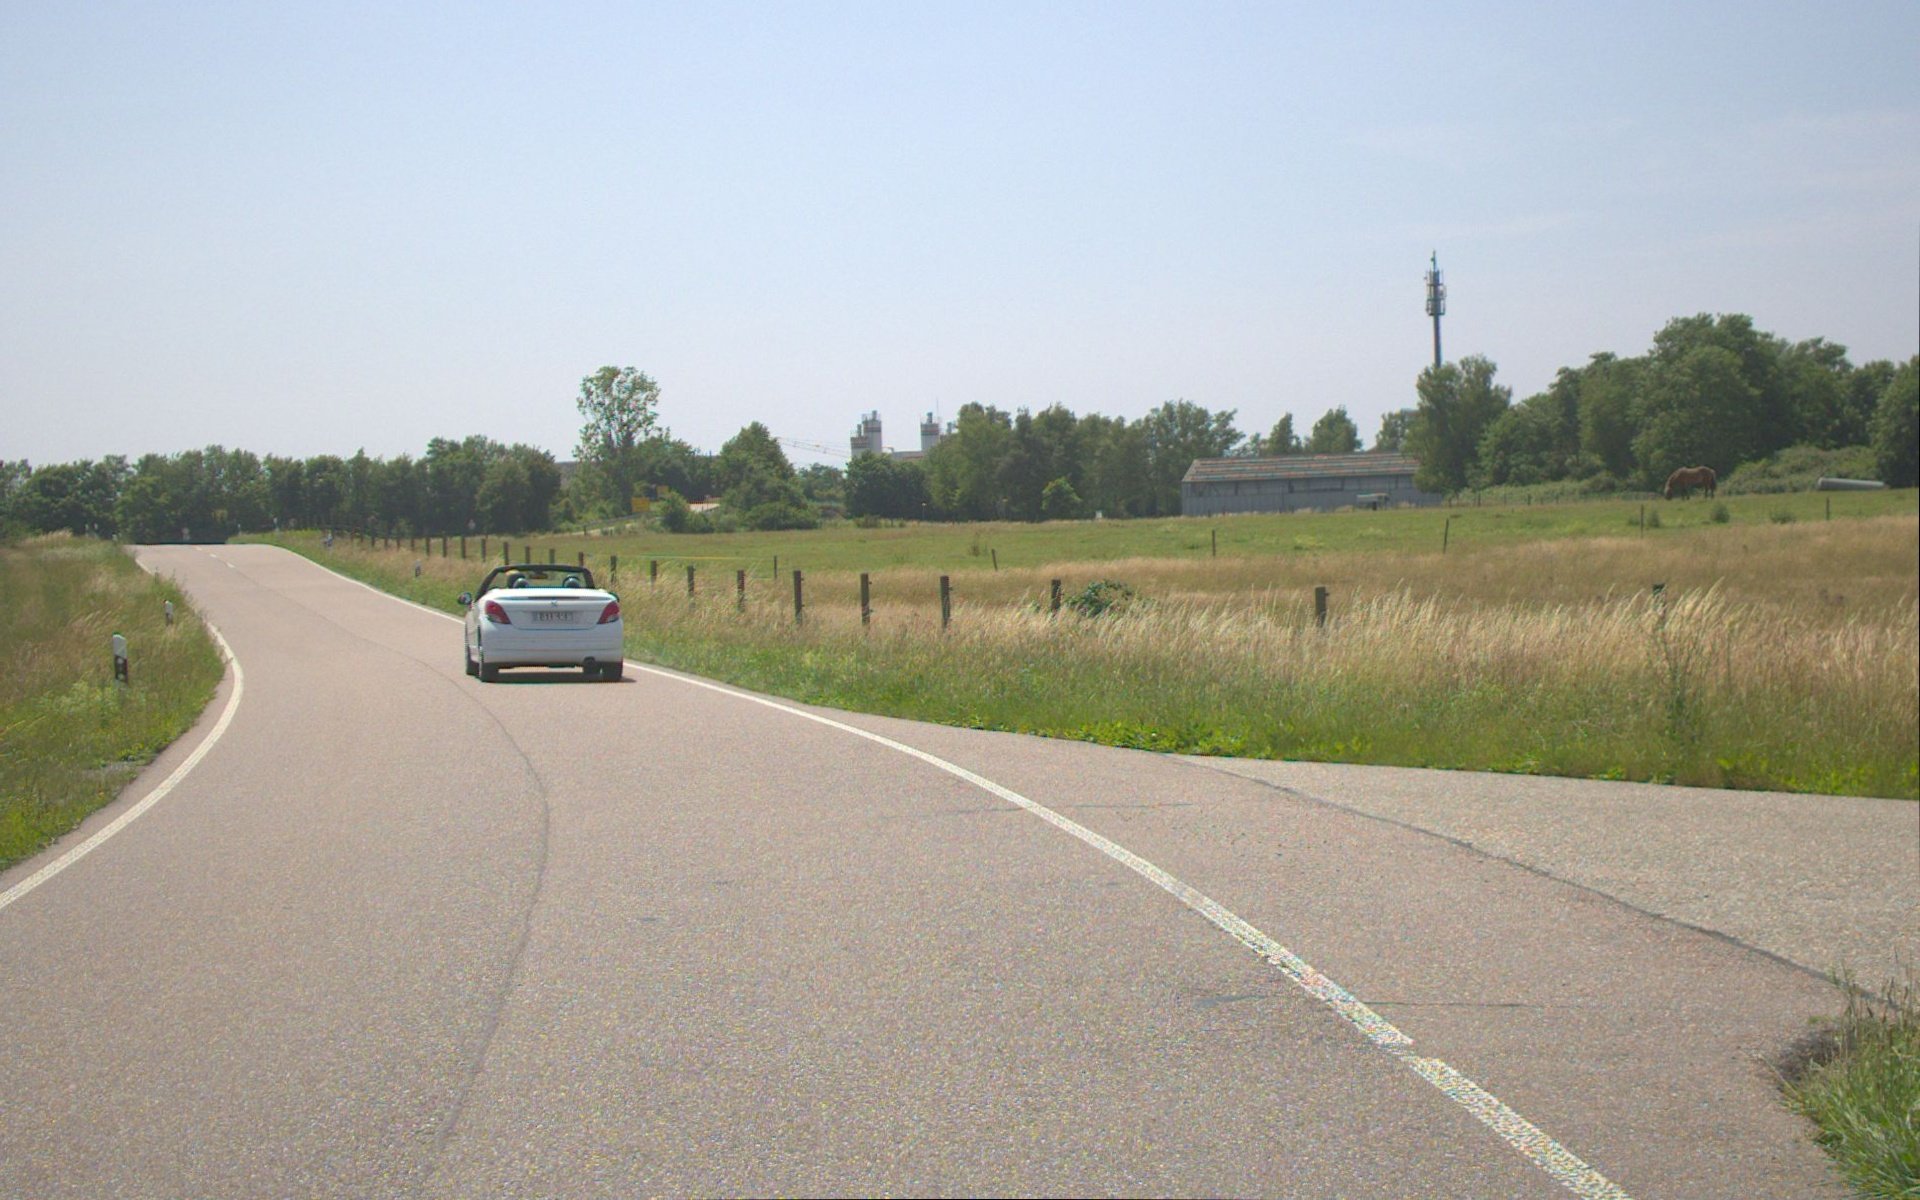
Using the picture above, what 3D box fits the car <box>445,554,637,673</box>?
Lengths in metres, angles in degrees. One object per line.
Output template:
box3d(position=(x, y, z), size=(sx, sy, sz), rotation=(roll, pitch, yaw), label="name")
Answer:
box3d(position=(-5.149, 0.139, 41.885), size=(1.850, 1.374, 4.001), rotation=(0, 1, -14), label="car")
